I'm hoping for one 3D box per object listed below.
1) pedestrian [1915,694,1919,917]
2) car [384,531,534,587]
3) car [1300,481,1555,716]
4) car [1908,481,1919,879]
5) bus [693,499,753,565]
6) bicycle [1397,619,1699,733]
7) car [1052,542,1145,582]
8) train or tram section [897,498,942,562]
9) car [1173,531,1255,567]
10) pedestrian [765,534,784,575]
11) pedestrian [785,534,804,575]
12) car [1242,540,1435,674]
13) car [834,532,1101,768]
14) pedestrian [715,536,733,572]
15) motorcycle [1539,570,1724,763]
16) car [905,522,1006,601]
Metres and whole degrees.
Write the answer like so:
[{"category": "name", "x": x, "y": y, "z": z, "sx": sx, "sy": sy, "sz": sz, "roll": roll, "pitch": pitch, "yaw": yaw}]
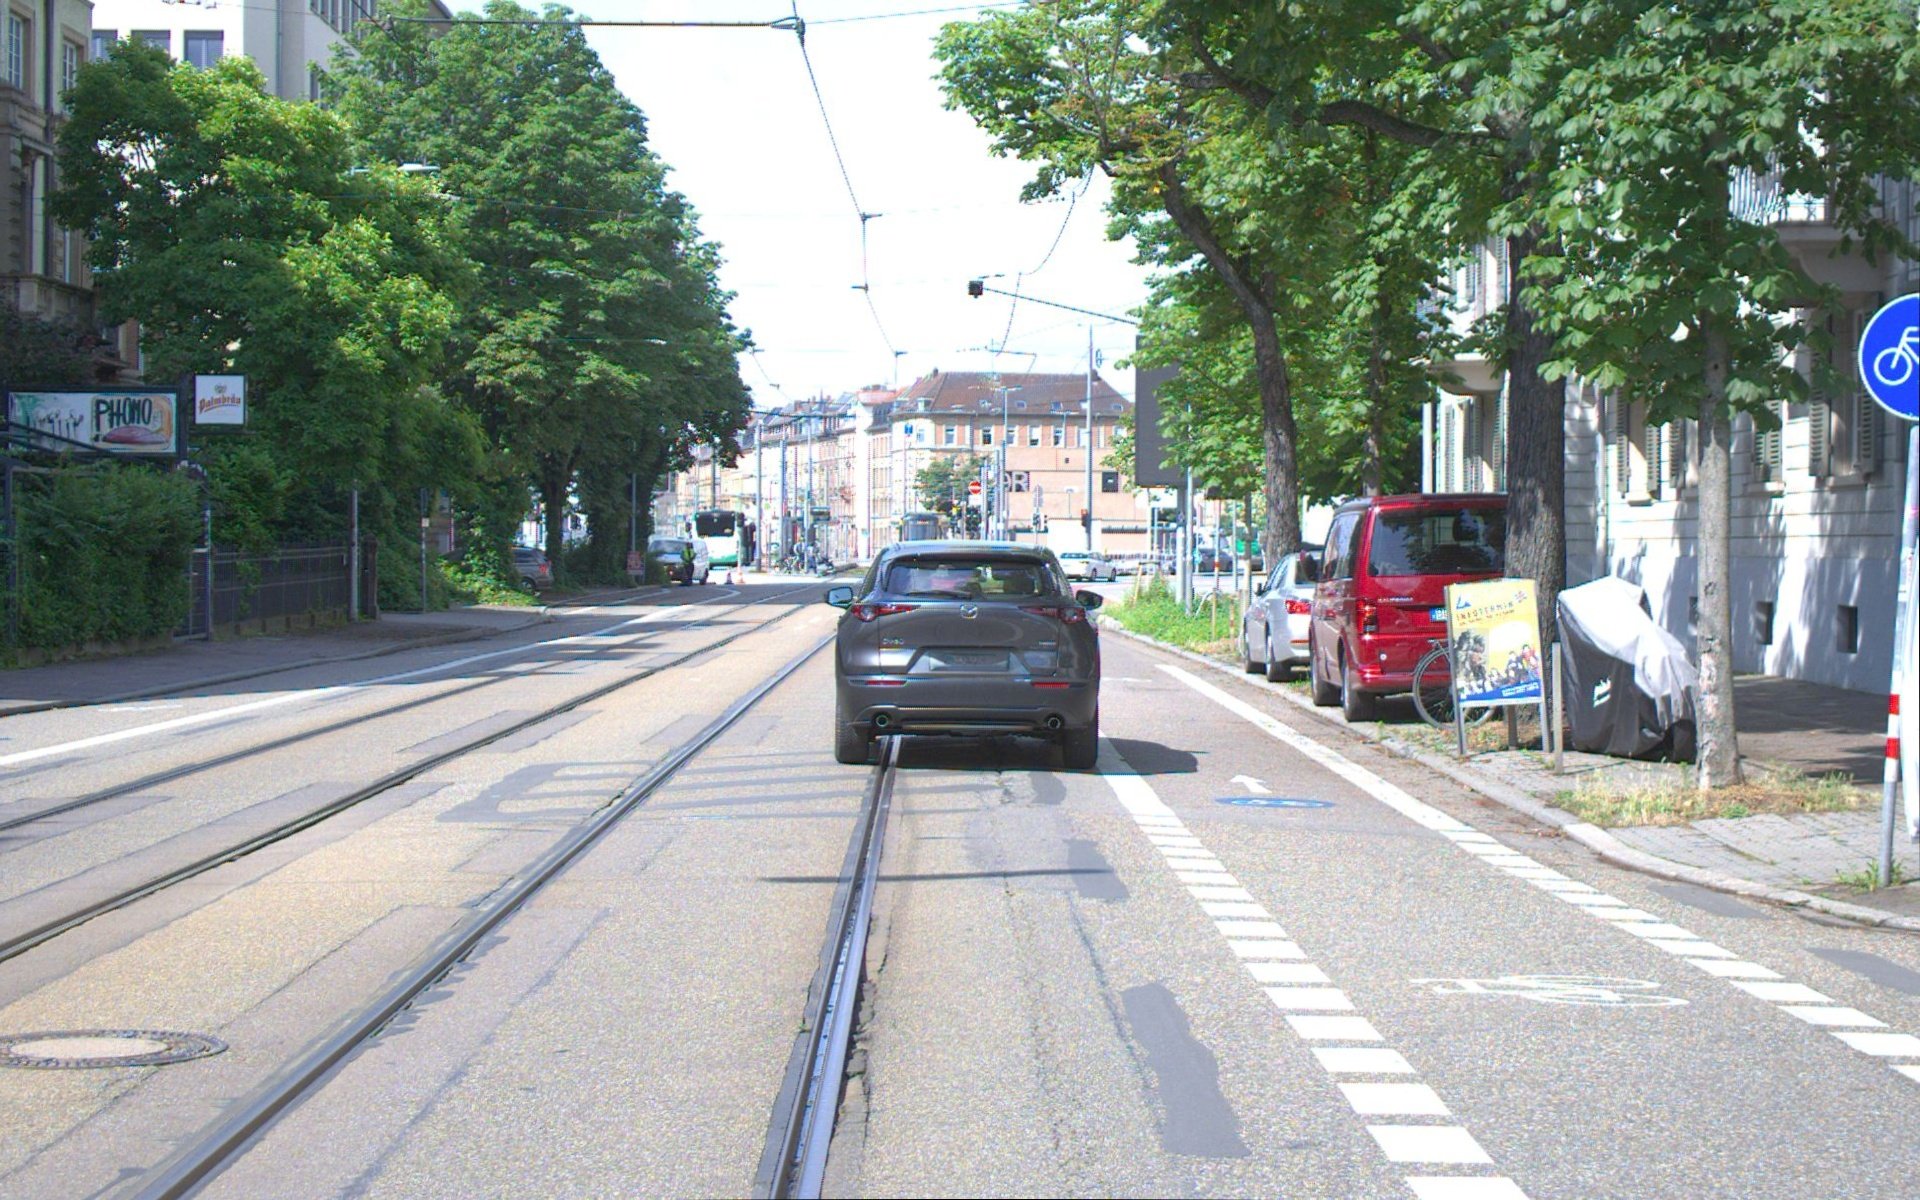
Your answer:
[{"category": "pedestrian", "x": 4.847, "y": 0.540, "z": 15.228, "sx": 0.815, "sy": 1.829, "sz": 0.962, "roll": 1, "pitch": 1, "yaw": -10}, {"category": "car", "x": -13.145, "y": -1.076, "z": 90.345, "sx": 3.746, "sy": 1.283, "sz": 1.611, "roll": 3, "pitch": 1, "yaw": -4}, {"category": "car", "x": 4.154, "y": -0.055, "z": 31.123, "sx": 1.720, "sy": 1.962, "sz": 4.207, "roll": 1, "pitch": 1, "yaw": 0}, {"category": "car", "x": 5.832, "y": 0.453, "z": 14.450, "sx": 1.786, "sy": 1.932, "sz": 4.992, "roll": 1, "pitch": 1, "yaw": -7}, {"category": "bus", "x": -13.209, "y": -3.798, "z": 190.879, "sx": 2.688, "sy": 3.409, "sz": 11.020, "roll": 3, "pitch": 1, "yaw": -6}, {"category": "bicycle", "x": 4.687, "y": 0.600, "z": 27.479, "sx": 2.275, "sy": 0.858, "sz": 0.672, "roll": 1, "pitch": 1, "yaw": -1}, {"category": "car", "x": 6.288, "y": -1.712, "z": 156.330, "sx": 3.805, "sy": 1.612, "sz": 1.638, "roll": 3, "pitch": 1, "yaw": -18}, {"category": "train or tram section", "x": -2.482, "y": -4.310, "z": 211.549, "sx": 2.571, "sy": 3.759, "sz": 13.027, "roll": 1, "pitch": 1, "yaw": 0}, {"category": "car", "x": 12.867, "y": -2.564, "z": 174.022, "sx": 3.806, "sy": 1.612, "sz": 1.638, "roll": 2, "pitch": 1, "yaw": -31}, {"category": "pedestrian", "x": -9.127, "y": -2.221, "z": 169.249, "sx": 0.884, "sy": 2.007, "sz": 0.618, "roll": 1, "pitch": 1, "yaw": -4}, {"category": "pedestrian", "x": -8.160, "y": -2.242, "z": 169.205, "sx": 0.884, "sy": 2.007, "sz": 0.618, "roll": 1, "pitch": 1, "yaw": -4}, {"category": "car", "x": 4.229, "y": 0.048, "z": 38.857, "sx": 1.720, "sy": 1.419, "sz": 3.590, "roll": 1, "pitch": 1, "yaw": -1}, {"category": "car", "x": 0.022, "y": 0.293, "z": 24.212, "sx": 1.720, "sy": 1.521, "sz": 3.590, "roll": 1, "pitch": 1, "yaw": -1}, {"category": "pedestrian", "x": -9.936, "y": -1.957, "z": 144.858, "sx": 0.751, "sy": 1.505, "sz": 0.824, "roll": 1, "pitch": 1, "yaw": -5}, {"category": "motorcycle", "x": 4.740, "y": 0.438, "z": 24.438, "sx": 0.794, "sy": 1.267, "sz": 2.422, "roll": 1, "pitch": 1, "yaw": -1}, {"category": "car", "x": -0.127, "y": -0.815, "z": 72.152, "sx": 1.993, "sy": 1.523, "sz": 4.000, "roll": 3, "pitch": 1, "yaw": -1}]
